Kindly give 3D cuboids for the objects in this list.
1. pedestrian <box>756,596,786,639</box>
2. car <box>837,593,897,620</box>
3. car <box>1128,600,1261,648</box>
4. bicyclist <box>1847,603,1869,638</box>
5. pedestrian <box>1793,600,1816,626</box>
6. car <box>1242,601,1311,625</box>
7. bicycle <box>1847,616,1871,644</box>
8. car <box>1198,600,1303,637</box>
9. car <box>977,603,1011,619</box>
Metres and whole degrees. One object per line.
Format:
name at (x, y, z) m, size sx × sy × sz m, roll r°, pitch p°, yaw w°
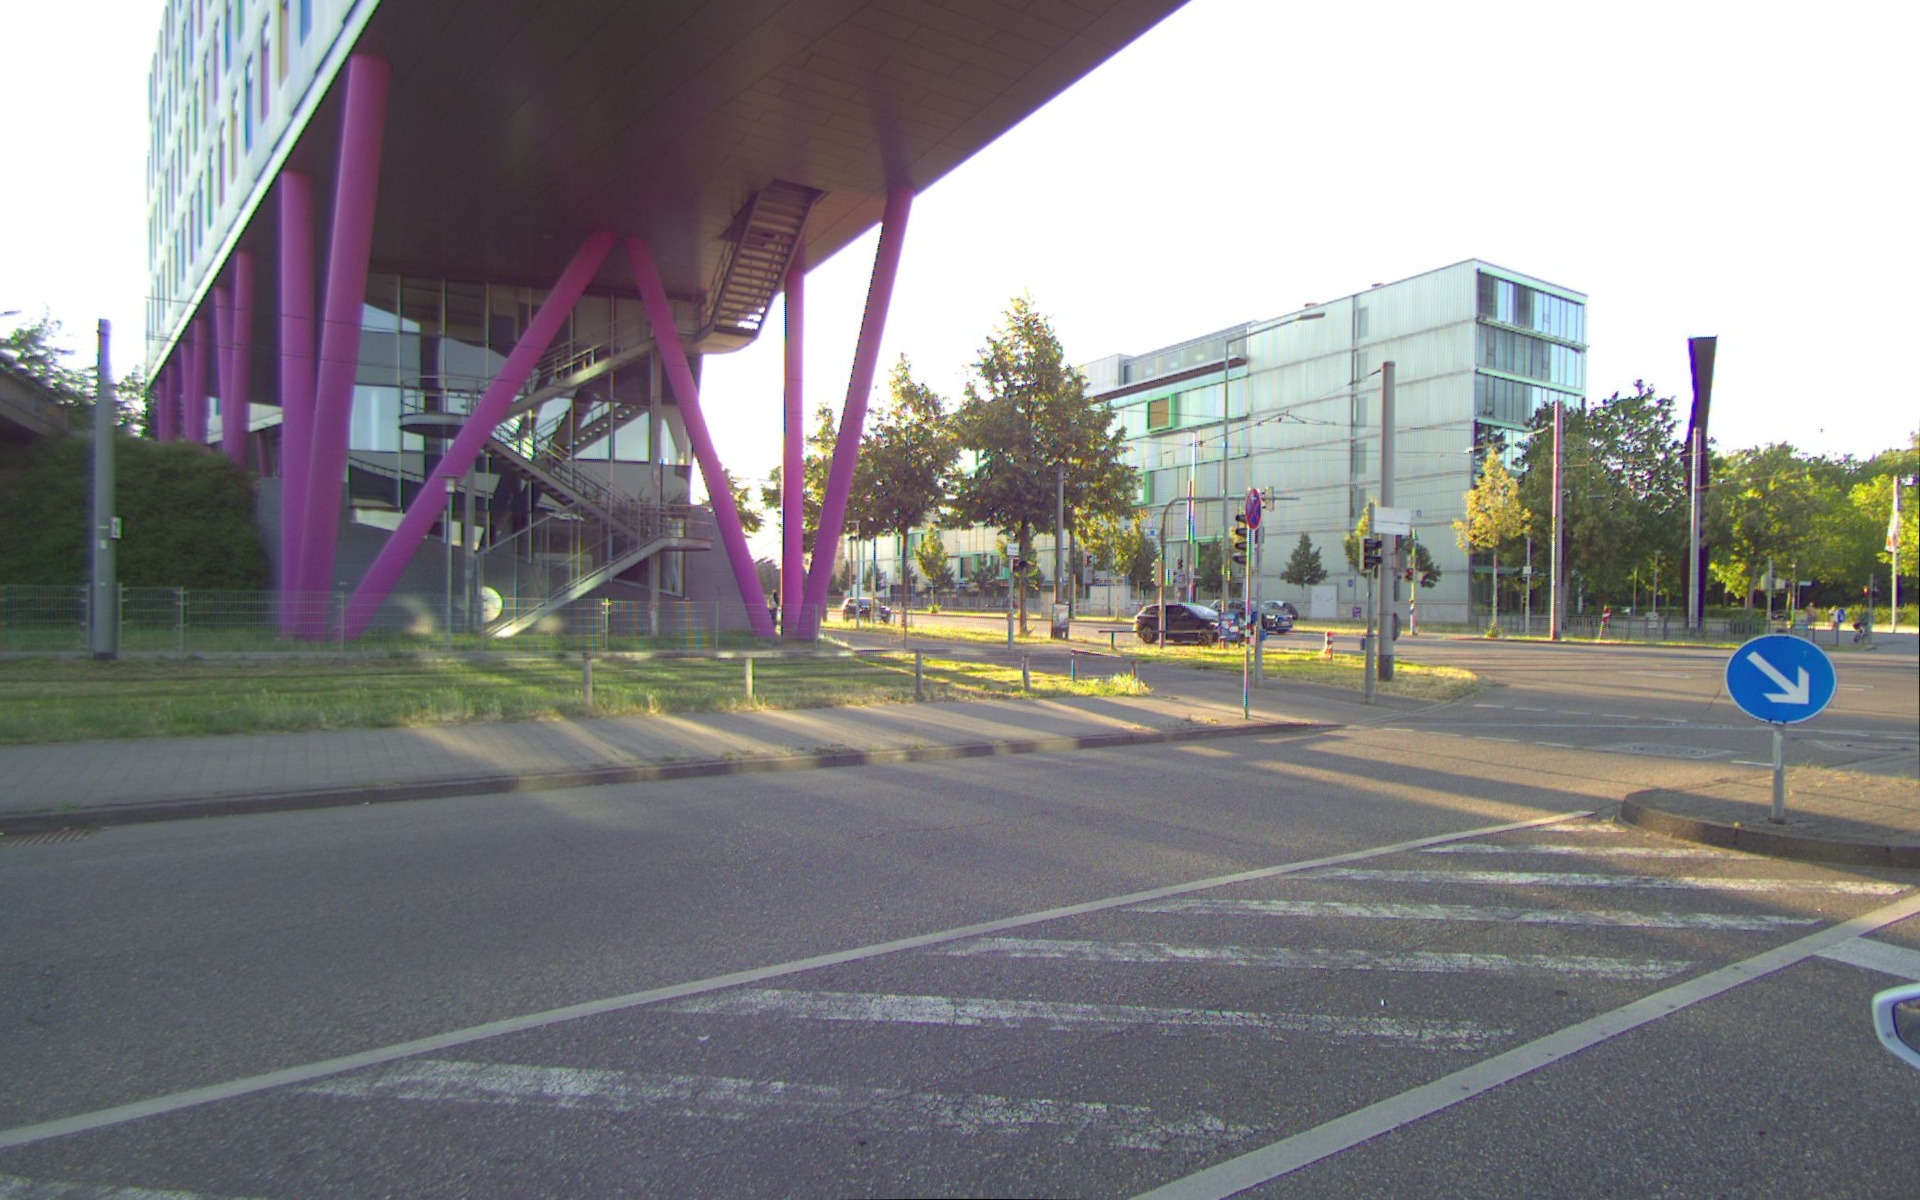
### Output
pedestrian at (-7.843, 0.730, 41.635) m, size 0.925 × 1.747 × 0.873 m, roll 1°, pitch -2°, yaw -38°
car at (-5.694, 0.391, 61.105) m, size 1.977 × 1.595 × 4.412 m, roll 1°, pitch 0°, yaw -30°
car at (8.718, 0.863, 37.791) m, size 1.978 × 1.636 × 4.879 m, roll 1°, pitch 0°, yaw -33°
bicyclist at (45.280, 1.012, 50.660) m, size 0.741 × 1.732 × 0.916 m, roll 1°, pitch 0°, yaw 39°
pedestrian at (56.949, 0.873, 67.728) m, size 0.813 × 1.767 × 0.863 m, roll 1°, pitch 0°, yaw 7°
car at (21.552, 0.852, 68.596) m, size 1.785 × 1.516 × 4.305 m, roll 2°, pitch -1°, yaw -33°
bicycle at (45.191, 1.496, 50.523) m, size 0.721 × 1.359 × 2.679 m, roll 1°, pitch 0°, yaw 38°
car at (13.292, 0.806, 46.197) m, size 1.968 × 1.577 × 4.448 m, roll 1°, pitch 0°, yaw -34°
car at (3.599, 1.164, 107.613) m, size 1.782 × 1.516 × 4.314 m, roll 2°, pitch -1°, yaw -28°
